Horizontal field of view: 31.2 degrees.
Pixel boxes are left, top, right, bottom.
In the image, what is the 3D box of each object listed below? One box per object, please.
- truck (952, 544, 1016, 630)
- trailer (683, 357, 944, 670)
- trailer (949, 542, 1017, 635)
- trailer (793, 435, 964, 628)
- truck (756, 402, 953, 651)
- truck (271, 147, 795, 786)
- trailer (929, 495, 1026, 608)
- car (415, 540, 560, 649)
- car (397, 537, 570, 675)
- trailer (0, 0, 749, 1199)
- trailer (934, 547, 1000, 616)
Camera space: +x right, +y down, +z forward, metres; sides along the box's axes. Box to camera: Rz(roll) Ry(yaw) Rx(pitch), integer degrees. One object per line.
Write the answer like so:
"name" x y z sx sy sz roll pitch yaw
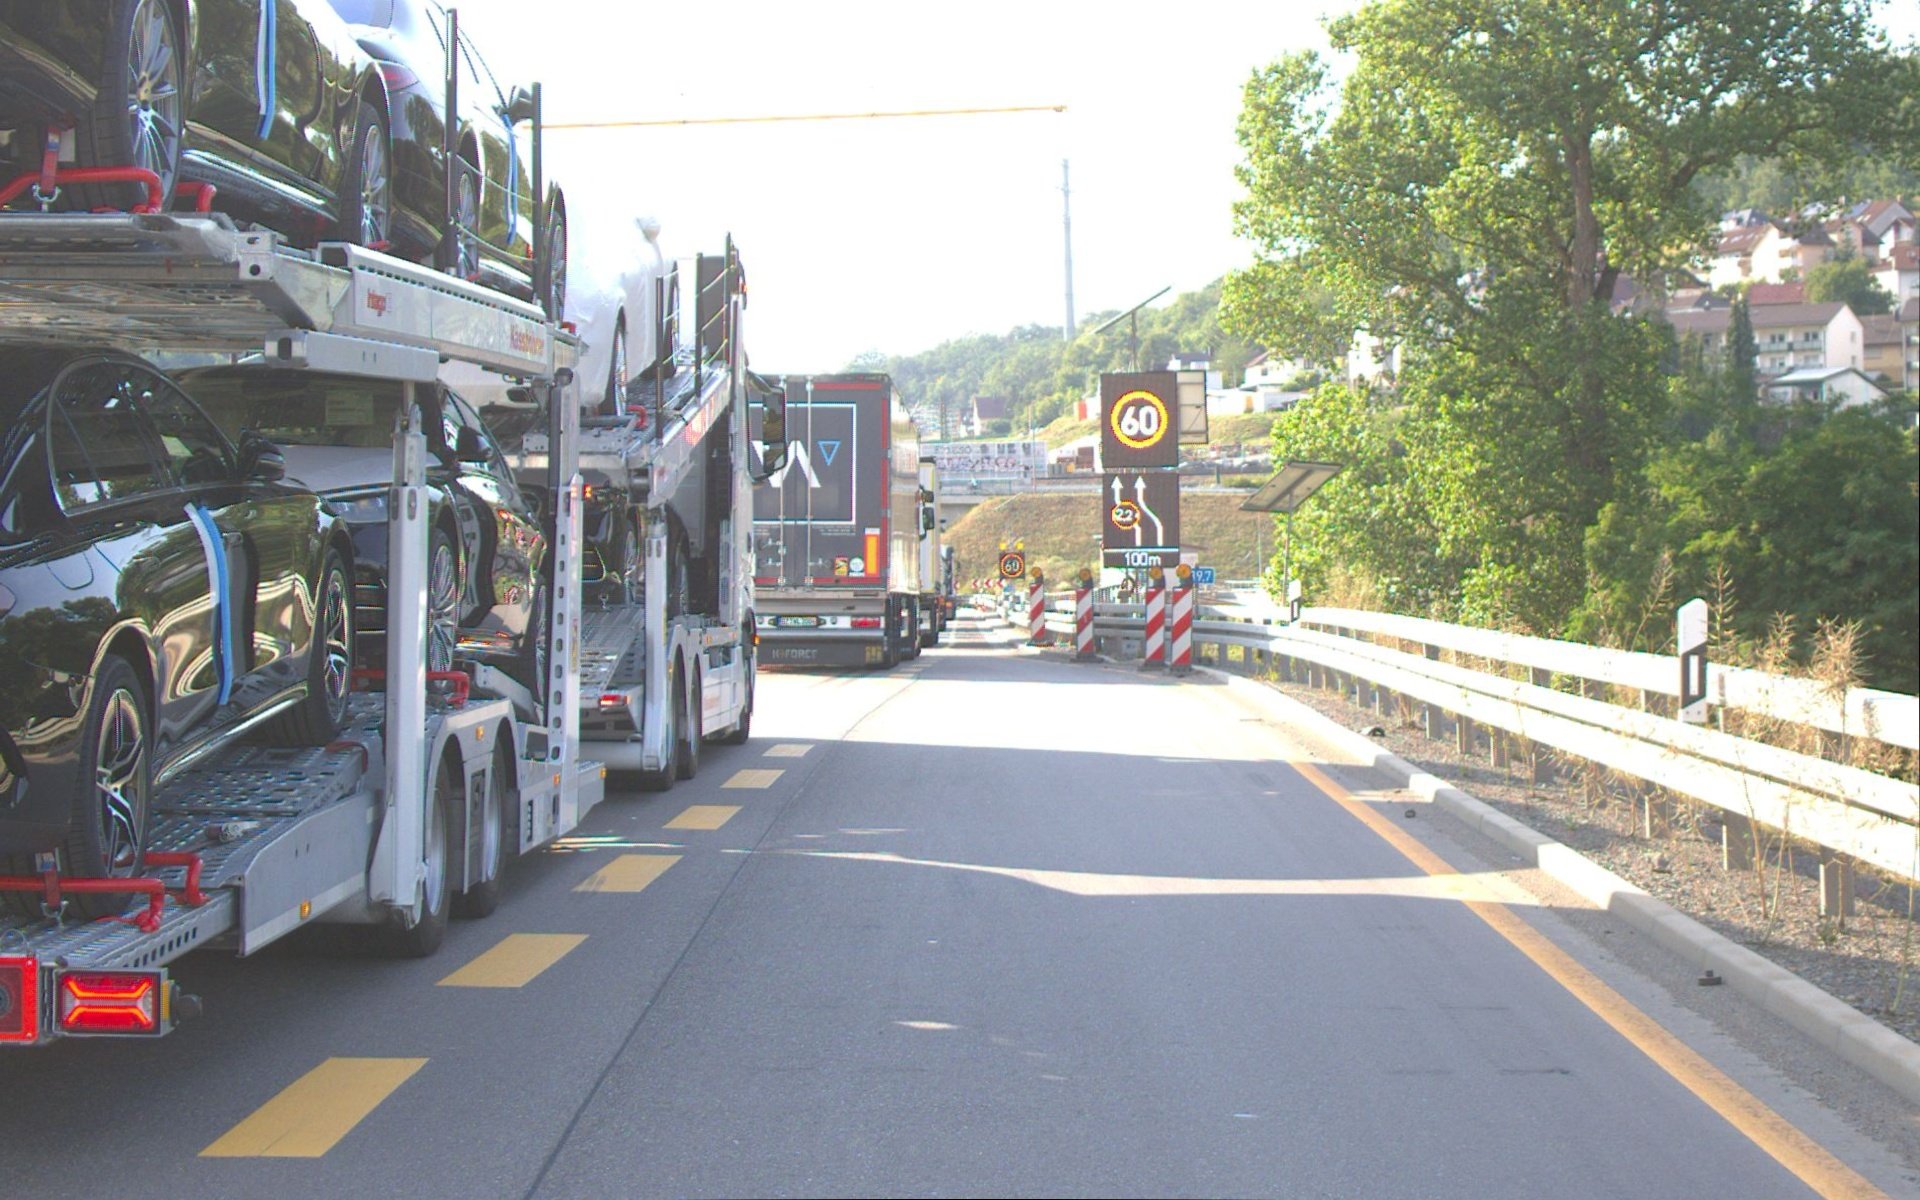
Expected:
"truck" 1.234 -0.687 174.085 3.098 4.271 6.624 -1 1 1
"trailer" -1.974 -1.216 51.105 2.959 4.078 10.793 -2 1 2
"trailer" 1.151 -0.617 167.445 3.103 4.299 14.252 -1 1 1
"trailer" -1.696 -1.522 79.302 3.385 3.983 14.745 -1 1 1
"truck" -1.713 -1.223 58.638 2.885 3.983 6.624 -1 1 2
"truck" -2.847 -0.879 24.941 2.848 3.983 6.624 -1 1 1
"trailer" 0.711 -1.828 129.729 3.385 3.983 14.745 -1 1 1
"car" -7.651 -0.116 56.007 1.830 1.648 4.000 -2 1 -1
"car" -6.476 0.050 47.112 1.830 1.746 4.000 -2 1 -1
"trailer" -2.967 -0.752 15.245 2.857 3.983 15.746 -1 1 1
"trailer" 0.507 -1.242 223.913 4.097 4.299 14.252 -1 1 1
